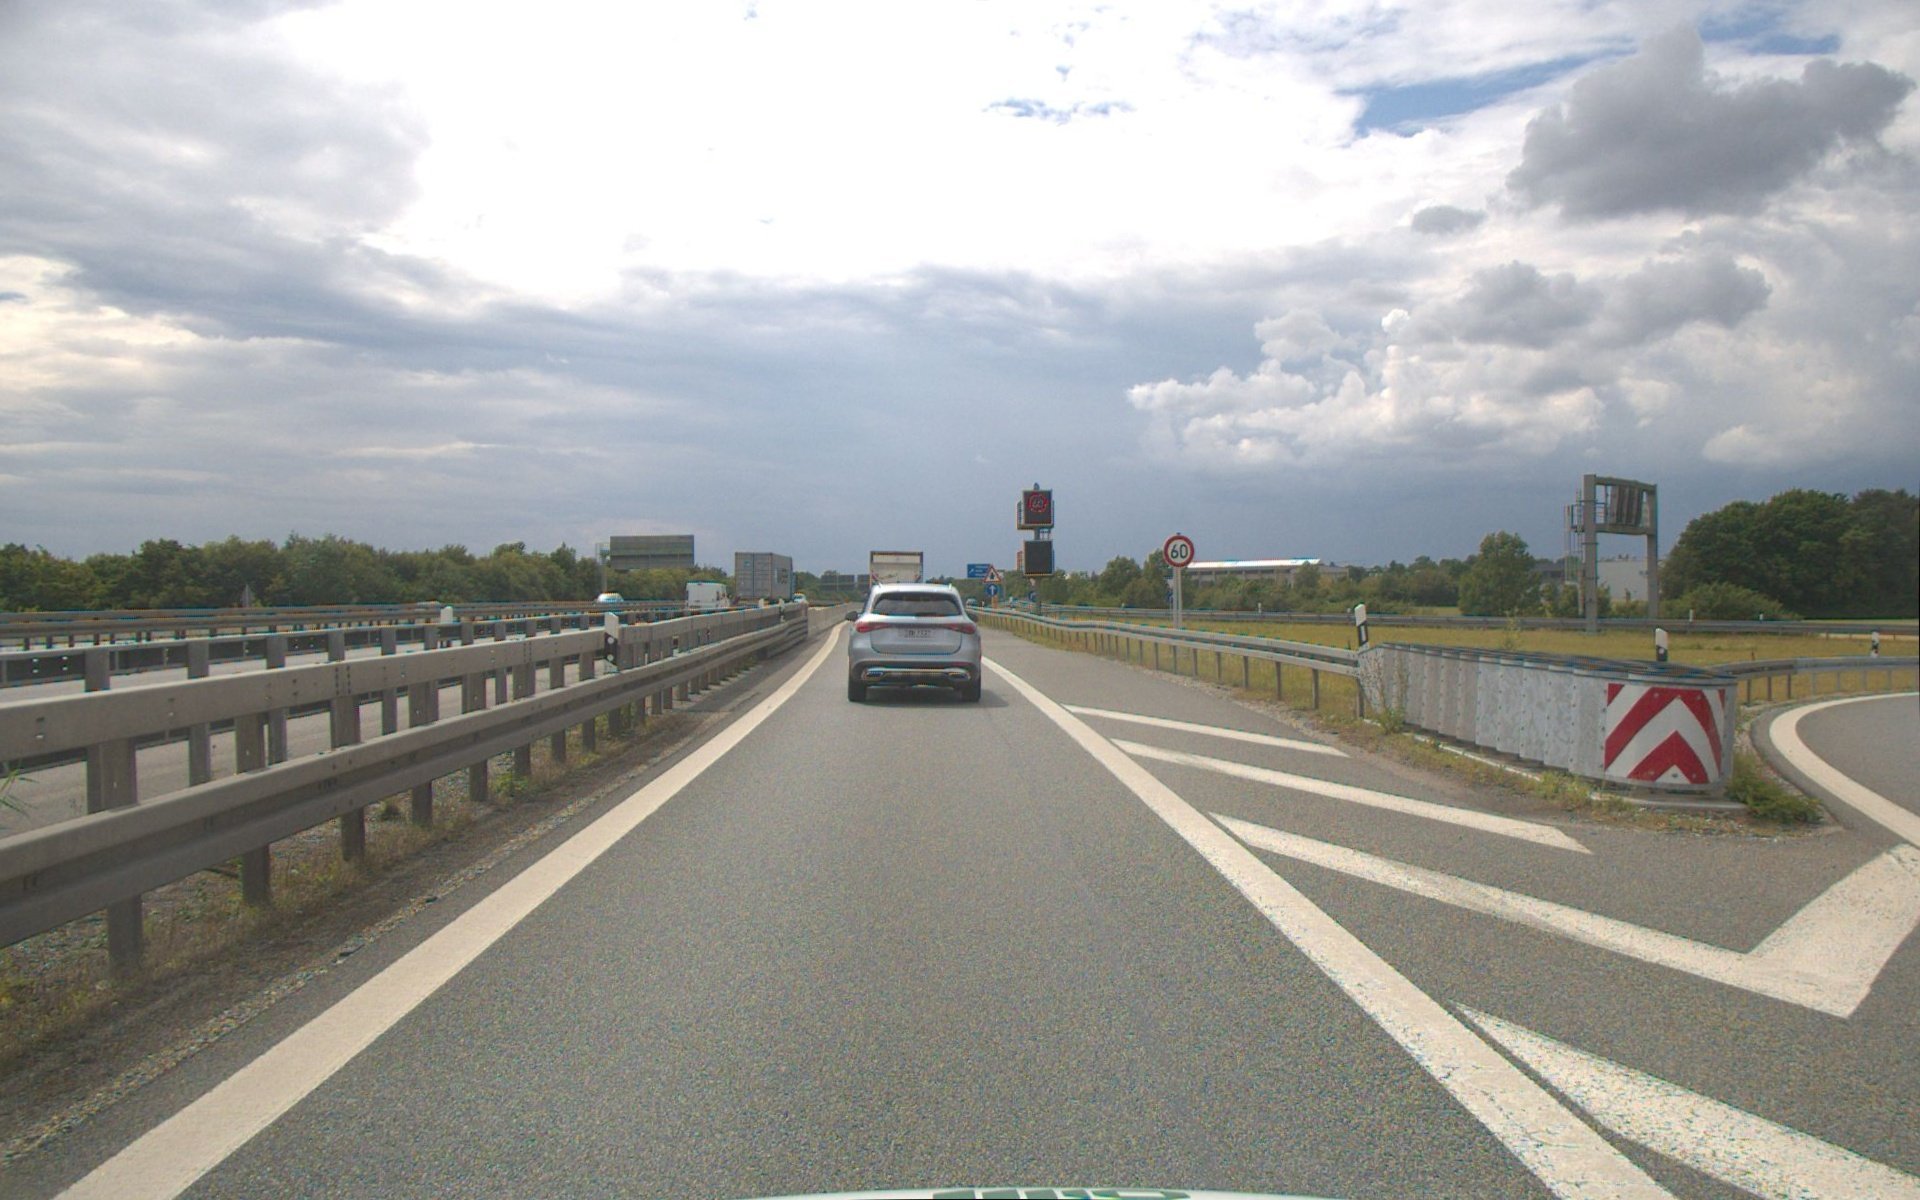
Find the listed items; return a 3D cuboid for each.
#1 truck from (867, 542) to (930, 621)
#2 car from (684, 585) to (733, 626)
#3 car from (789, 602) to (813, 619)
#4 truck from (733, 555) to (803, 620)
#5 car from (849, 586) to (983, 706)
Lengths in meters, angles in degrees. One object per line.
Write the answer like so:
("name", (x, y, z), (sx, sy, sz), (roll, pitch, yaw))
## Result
("truck", (-2.600, -0.751, 71.491), (2.517, 3.180, 8.631), (1, 0, -2))
("car", (-13.580, 0.266, 89.390), (1.952, 2.048, 4.375), (1, 1, 0))
("car", (-13.933, 0.917, 145.198), (1.661, 1.310, 4.000), (1, 1, 0))
("truck", (-12.896, -0.962, 112.626), (3.118, 4.089, 16.073), (1, 1, -1))
("car", (-0.627, 0.598, 24.099), (1.782, 1.541, 3.999), (1, 1, -1))
